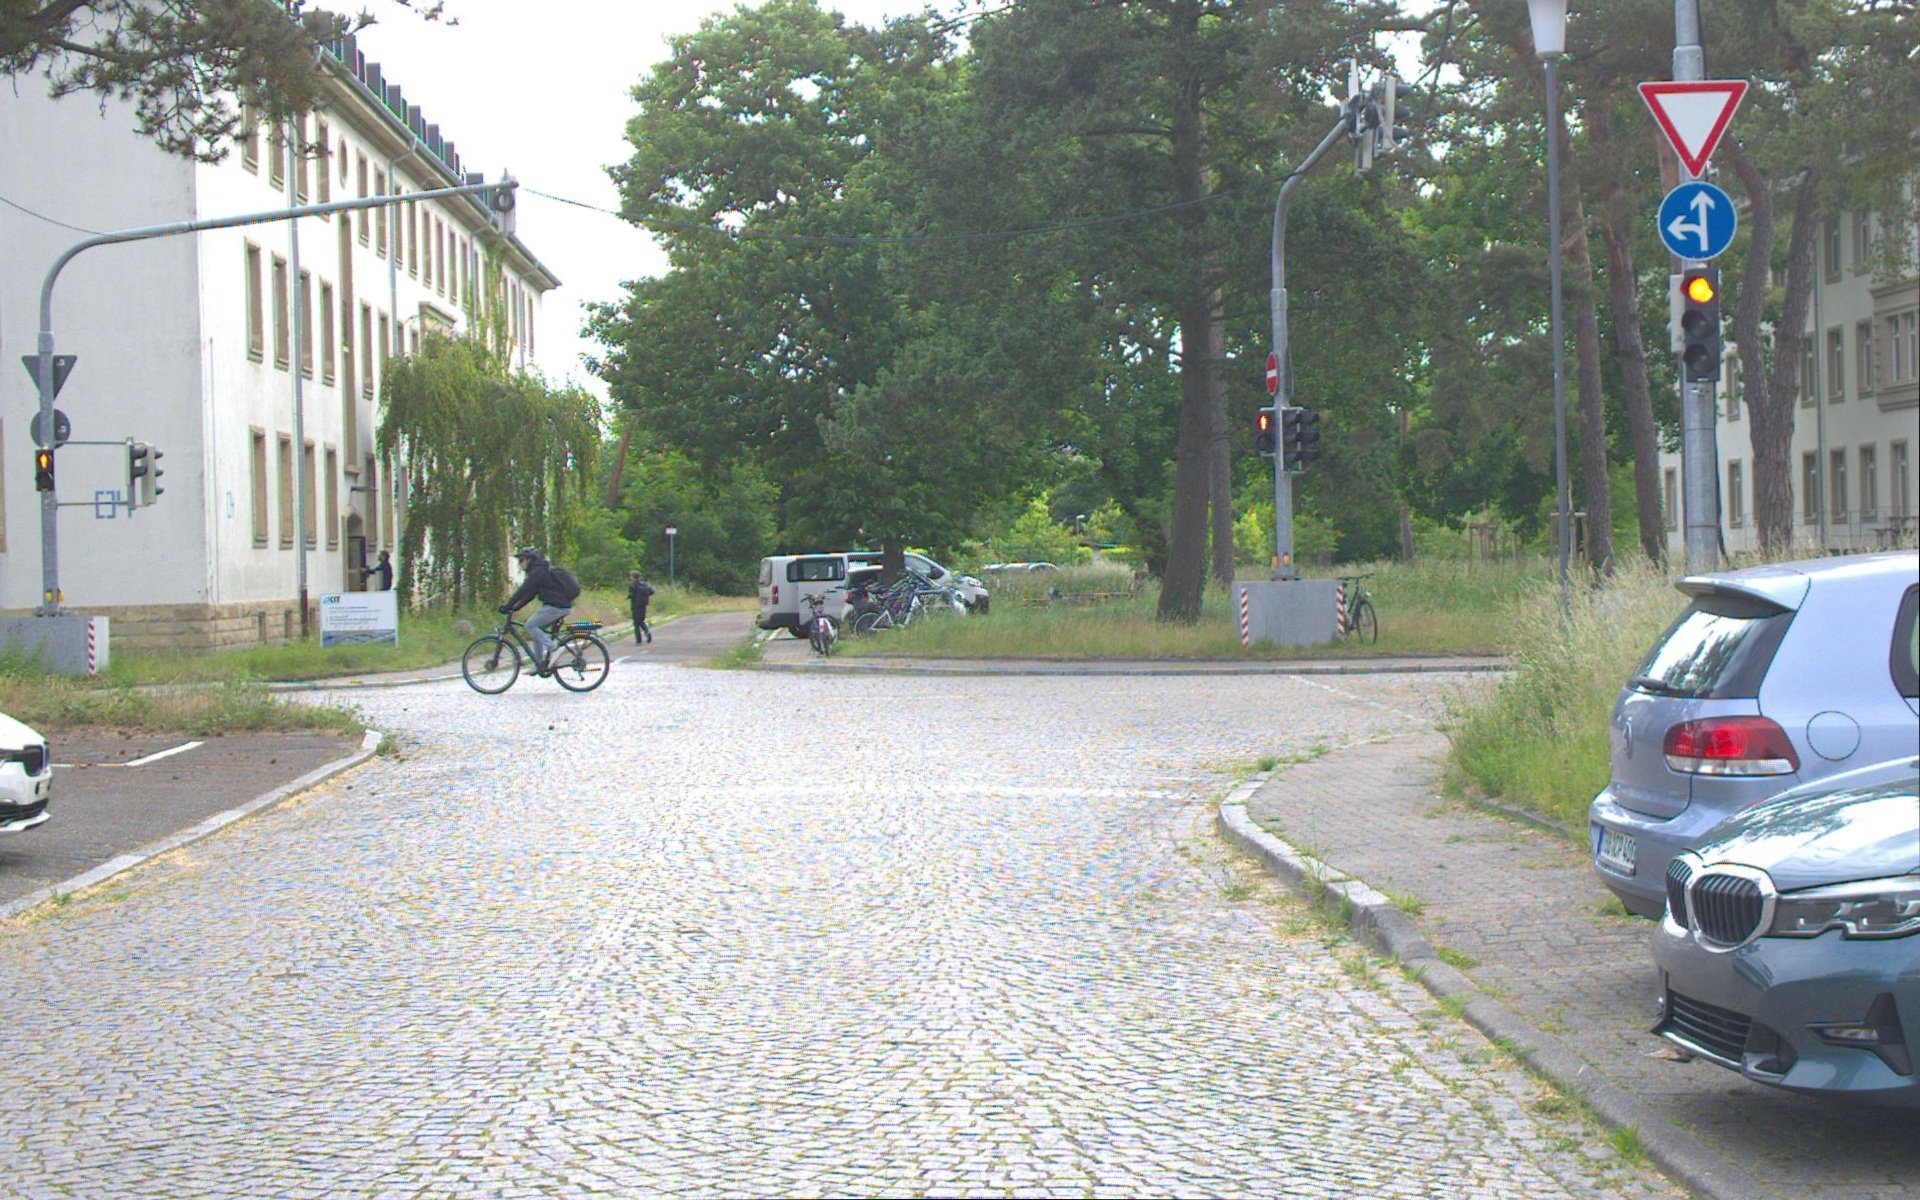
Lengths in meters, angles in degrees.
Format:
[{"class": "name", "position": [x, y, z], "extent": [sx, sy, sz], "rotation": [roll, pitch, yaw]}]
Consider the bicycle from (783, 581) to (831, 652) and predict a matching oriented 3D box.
[{"class": "bicycle", "position": [-2.553, 0.267, 57.078], "extent": [0.603, 1.129, 1.962], "rotation": [-1, 1, -7]}]

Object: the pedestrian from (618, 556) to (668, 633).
[{"class": "pedestrian", "position": [-6.734, -0.118, 72.955], "extent": [0.738, 1.613, 0.776], "rotation": [-2, 1, -34]}]

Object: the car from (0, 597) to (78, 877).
[{"class": "car", "position": [-6.912, 0.663, 18.417], "extent": [3.947, 1.417, 1.650], "rotation": [1, 1, -2]}]

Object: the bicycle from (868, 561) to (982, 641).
[{"class": "bicycle", "position": [-0.630, 0.013, 61.788], "extent": [1.954, 1.379, 0.588], "rotation": [-1, 1, -8]}]

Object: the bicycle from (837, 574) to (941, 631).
[{"class": "bicycle", "position": [-1.398, 0.052, 67.460], "extent": [1.955, 1.066, 0.588], "rotation": [-2, 1, -26]}]

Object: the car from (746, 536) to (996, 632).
[{"class": "car", "position": [-2.054, -0.372, 78.376], "extent": [5.359, 1.918, 2.025], "rotation": [-3, 1, -10]}]

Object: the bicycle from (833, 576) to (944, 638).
[{"class": "bicycle", "position": [-1.297, 0.122, 62.425], "extent": [1.955, 1.066, 0.588], "rotation": [-2, 1, -31]}]

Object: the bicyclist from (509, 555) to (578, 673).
[{"class": "bicyclist", "position": [-5.055, 0.161, 41.771], "extent": [0.749, 1.405, 0.605], "rotation": [-1, 1, -2]}]

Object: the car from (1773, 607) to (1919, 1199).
[{"class": "car", "position": [4.021, 0.620, 6.439], "extent": [4.421, 1.412, 1.871], "rotation": [-3, 1, -10]}]

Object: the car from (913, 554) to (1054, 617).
[{"class": "car", "position": [0.548, -0.362, 82.326], "extent": [3.231, 1.411, 1.725], "rotation": [-2, 1, -4]}]

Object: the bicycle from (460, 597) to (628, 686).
[{"class": "bicycle", "position": [-5.045, 0.504, 41.776], "extent": [1.955, 1.021, 0.605], "rotation": [-1, 1, -2]}]

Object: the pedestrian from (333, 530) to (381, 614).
[{"class": "pedestrian", "position": [-13.282, -0.618, 75.738], "extent": [0.774, 1.831, 0.741], "rotation": [-2, 1, -33]}]

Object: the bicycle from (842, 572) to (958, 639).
[{"class": "bicycle", "position": [-1.056, 0.096, 60.313], "extent": [1.954, 1.129, 0.588], "rotation": [-1, 1, -8]}]

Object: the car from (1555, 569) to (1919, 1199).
[{"class": "car", "position": [4.144, 0.560, 9.130], "extent": [4.680, 1.412, 1.871], "rotation": [-3, 1, -4]}]

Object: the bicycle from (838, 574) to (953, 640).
[{"class": "bicycle", "position": [-1.141, 0.113, 60.945], "extent": [1.954, 1.113, 0.588], "rotation": [-1, 1, -8]}]

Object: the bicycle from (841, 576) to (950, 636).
[{"class": "bicycle", "position": [-1.191, 0.106, 63.778], "extent": [1.955, 1.066, 0.588], "rotation": [-2, 1, -31]}]

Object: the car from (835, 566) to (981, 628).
[{"class": "car", "position": [-1.148, -0.075, 75.027], "extent": [3.005, 1.264, 1.535], "rotation": [-2, 1, -7]}]

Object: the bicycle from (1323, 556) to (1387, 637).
[{"class": "bicycle", "position": [5.548, -0.059, 48.365], "extent": [0.586, 1.102, 1.962], "rotation": [-1, 1, -2]}]

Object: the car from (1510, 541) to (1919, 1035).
[{"class": "car", "position": [3.985, 0.509, 11.578], "extent": [3.927, 1.472, 1.642], "rotation": [-3, 1, 0]}]
